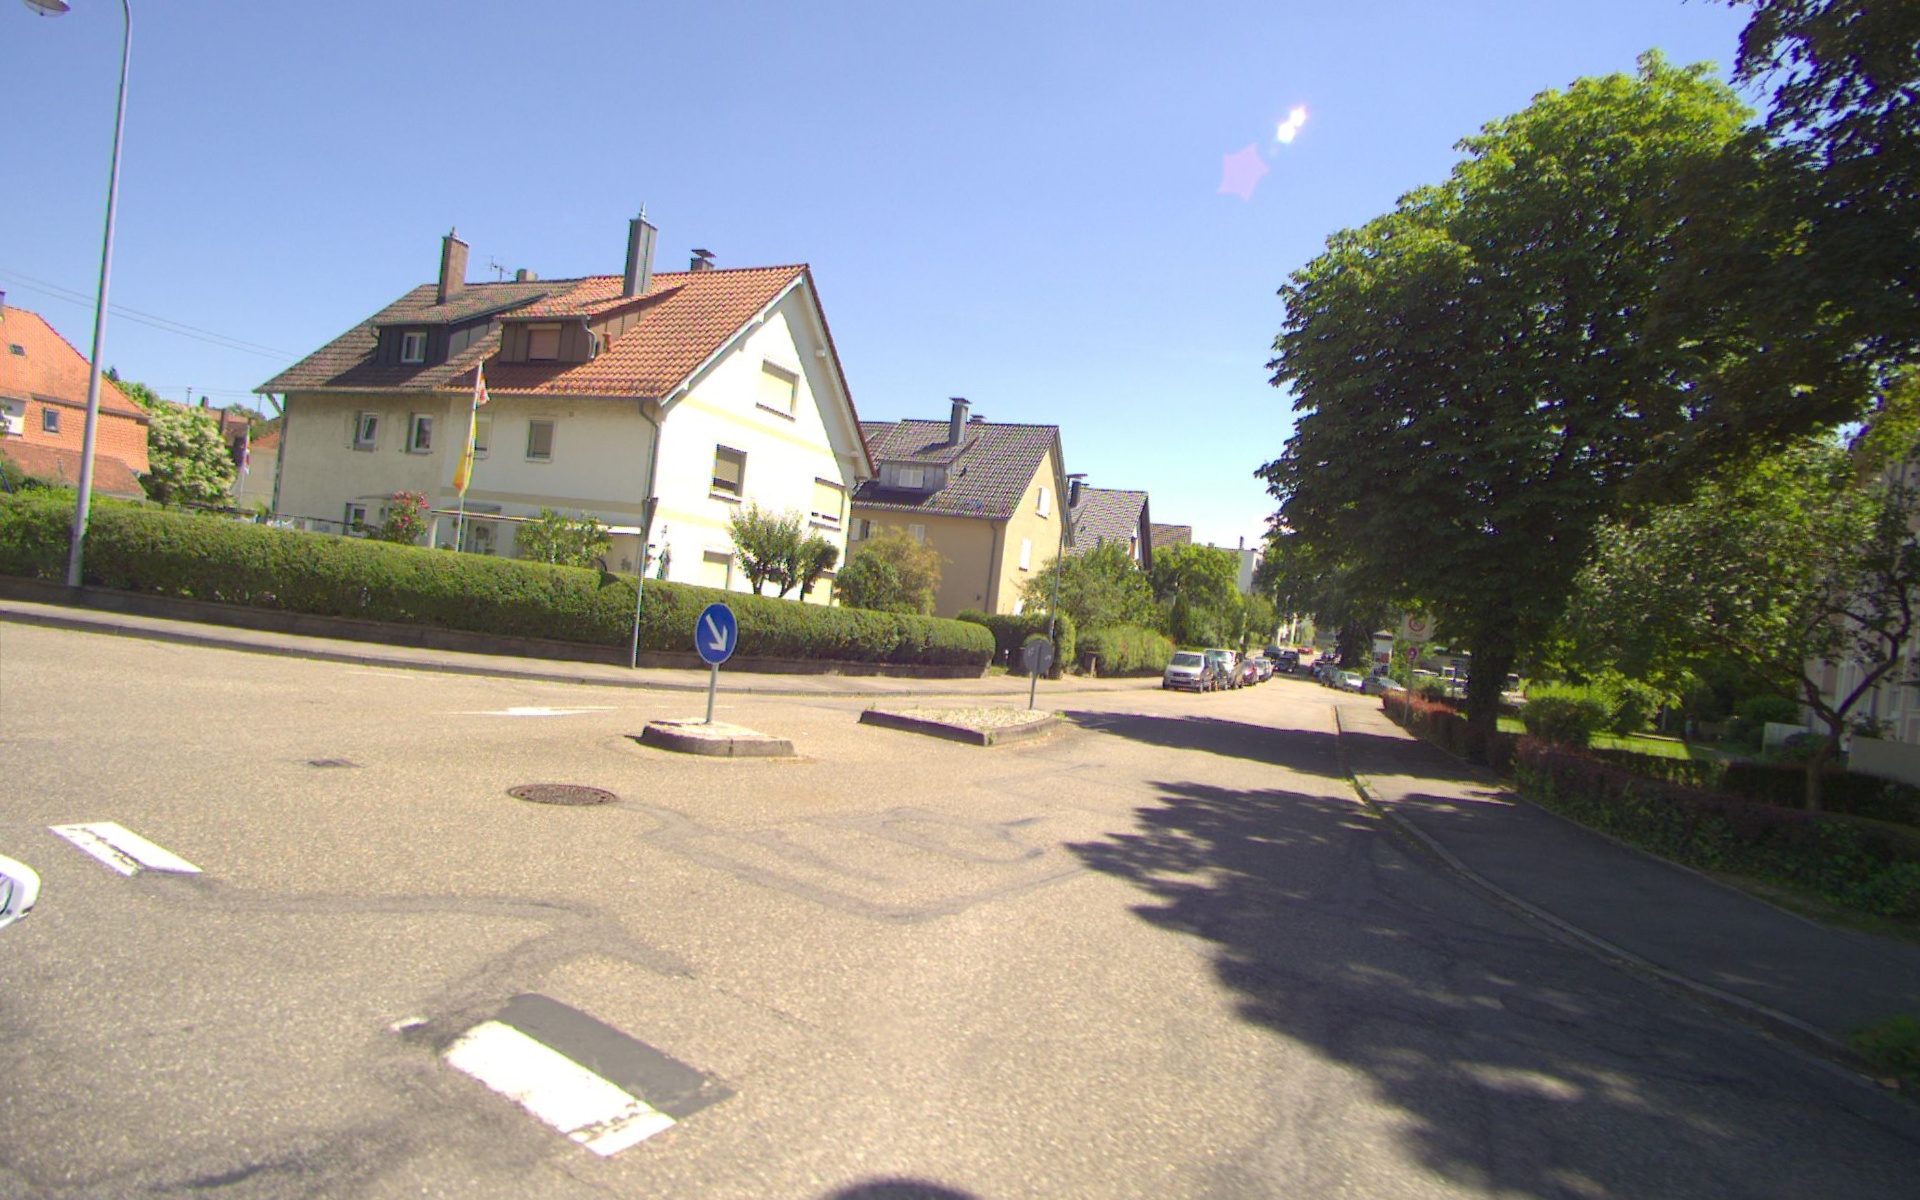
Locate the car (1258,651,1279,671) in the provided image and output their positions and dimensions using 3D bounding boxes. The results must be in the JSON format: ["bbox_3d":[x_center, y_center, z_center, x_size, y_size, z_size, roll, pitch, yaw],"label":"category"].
[{"bbox_3d":[37.116,7.338,120.832,1.963,2.037,4.001,7,-1,20],"label":"car"}]

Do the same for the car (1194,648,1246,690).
[{"bbox_3d":[13.207,3.525,50.976,1.679,1.846,3.851,7,-1,25],"label":"car"}]

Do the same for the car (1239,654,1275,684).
[{"bbox_3d":[20.823,4.865,70.375,1.679,1.846,3.851,7,-1,25],"label":"car"}]

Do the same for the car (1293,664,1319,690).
[{"bbox_3d":[31.718,7.008,92.085,1.963,2.037,4.001,7,-1,20],"label":"car"}]

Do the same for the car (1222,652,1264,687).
[{"bbox_3d":[17.198,4.209,60.956,1.679,1.846,3.851,7,-1,25],"label":"car"}]

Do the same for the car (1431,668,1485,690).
[{"bbox_3d":[43.794,6.915,88.526,3.801,1.455,1.701,5,-1,43],"label":"car"}]

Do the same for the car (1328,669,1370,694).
[{"bbox_3d":[28.471,5.940,73.712,1.677,1.455,3.856,7,-1,5],"label":"car"}]

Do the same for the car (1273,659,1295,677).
[{"bbox_3d":[31.086,6.522,96.501,1.678,1.455,3.854,7,-1,20],"label":"car"}]

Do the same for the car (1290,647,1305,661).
[{"bbox_3d":[54.130,8.724,161.216,1.963,1.926,4.001,7,-1,21],"label":"car"}]

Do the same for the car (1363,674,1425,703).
[{"bbox_3d":[29.447,6.001,68.390,1.683,1.455,3.841,7,-1,-16],"label":"car"}]

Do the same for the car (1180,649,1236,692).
[{"bbox_3d":[11.436,3.249,46.238,1.679,1.651,3.852,7,-1,25],"label":"car"}]

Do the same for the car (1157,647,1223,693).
[{"bbox_3d":[9.692,2.954,42.200,1.679,1.651,3.850,7,-1,26],"label":"car"}]

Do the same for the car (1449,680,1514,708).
[{"bbox_3d":[38.257,6.896,73.885,1.695,1.455,3.813,7,-1,-38],"label":"car"}]
